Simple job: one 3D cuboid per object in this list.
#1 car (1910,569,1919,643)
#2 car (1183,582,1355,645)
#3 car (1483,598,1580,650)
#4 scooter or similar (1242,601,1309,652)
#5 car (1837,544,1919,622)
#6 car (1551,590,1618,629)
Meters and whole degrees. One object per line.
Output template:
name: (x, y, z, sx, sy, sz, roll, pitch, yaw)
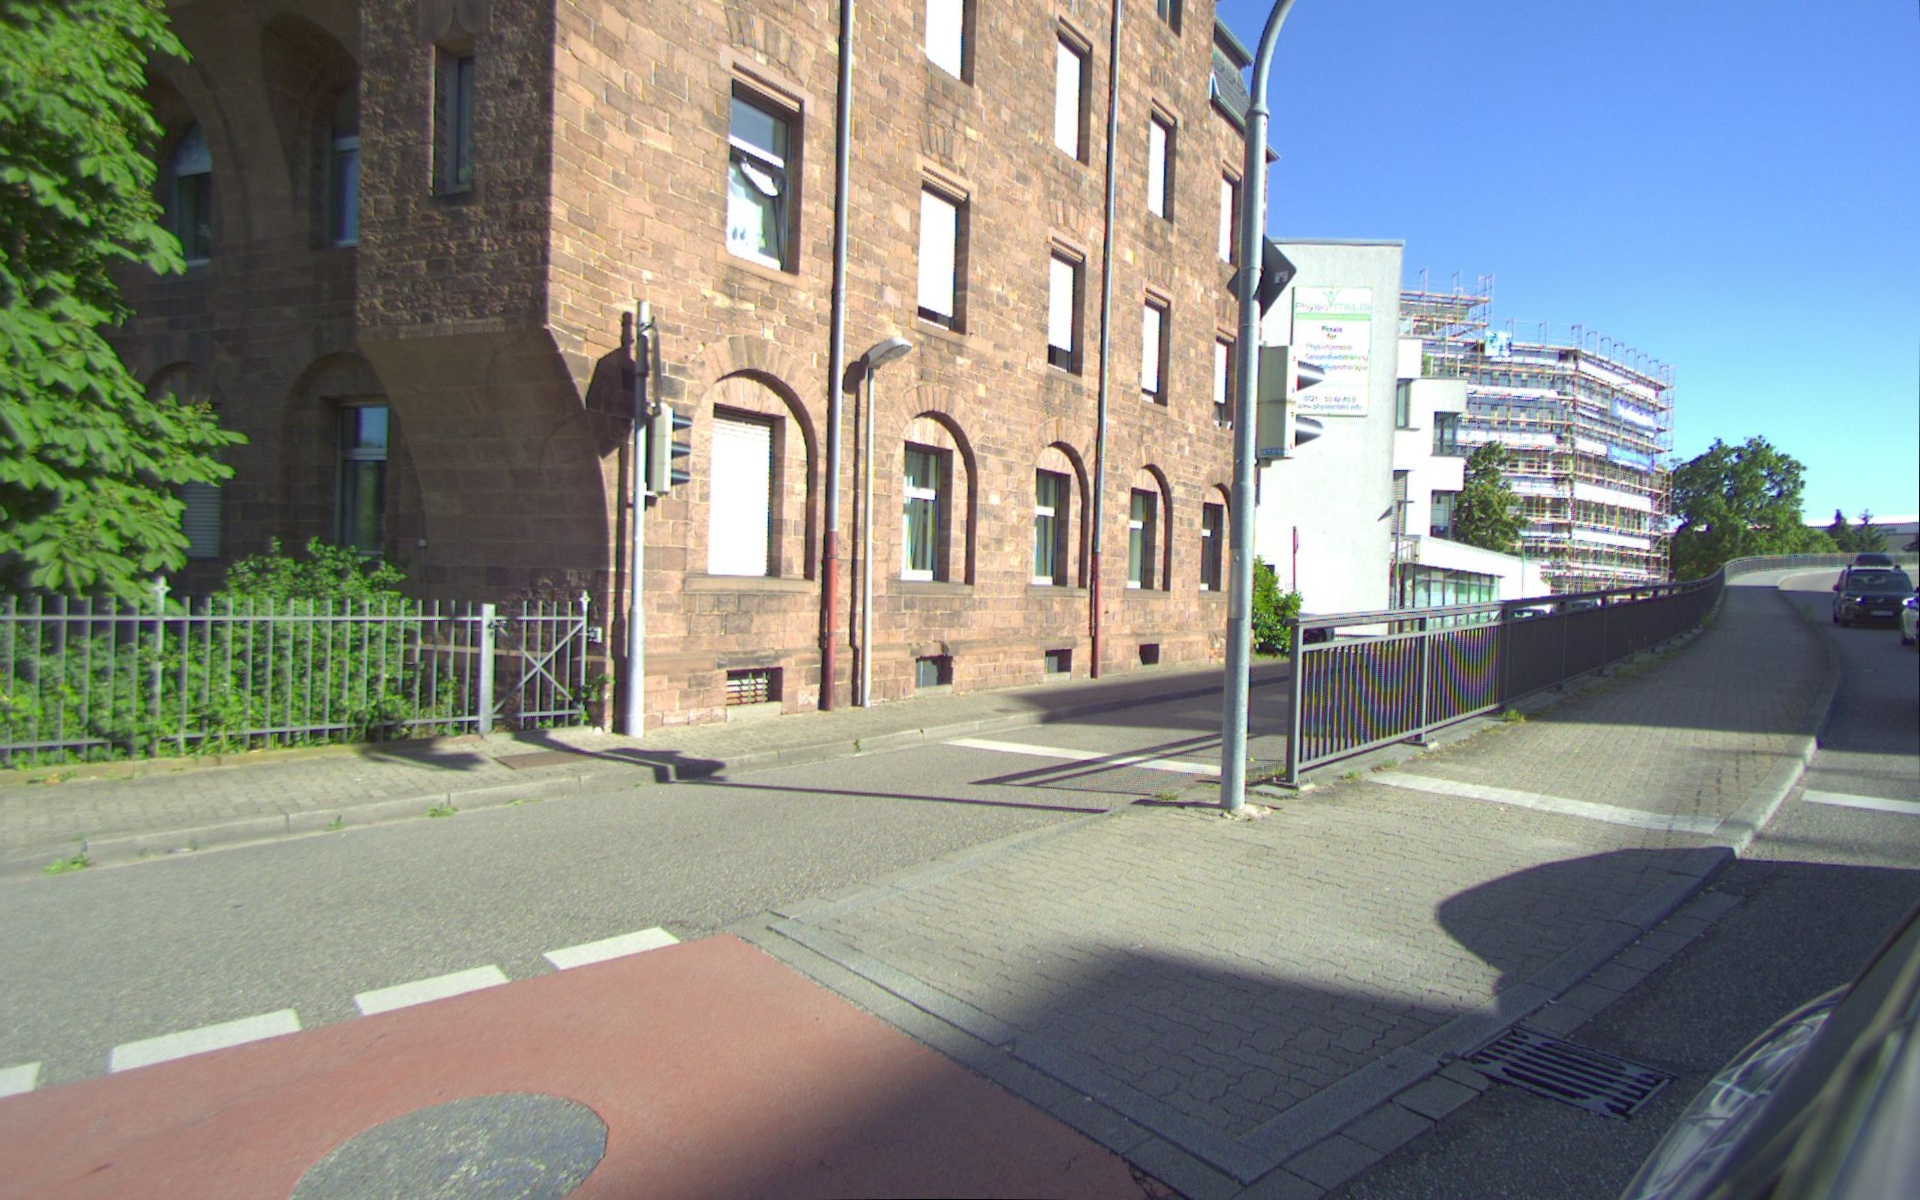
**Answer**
car: (22.463, 0.106, 22.451, 1.843, 1.554, 4.442, 1, 2, 41)
car: (9.100, 0.369, 30.078, 4.562, 1.789, 1.828, 0, 2, 2)
car: (19.123, 0.746, 33.782, 1.844, 1.448, 4.611, 1, 3, 42)
scooter or similar: (7.909, 0.654, 25.394, 1.453, 1.234, 0.775, -1, -1, 35)
car: (28.709, -0.576, 31.435, 1.900, 2.241, 4.538, 1, 3, 37)
car: (27.590, 0.397, 44.671, 1.843, 1.554, 3.940, 3, 2, 41)
